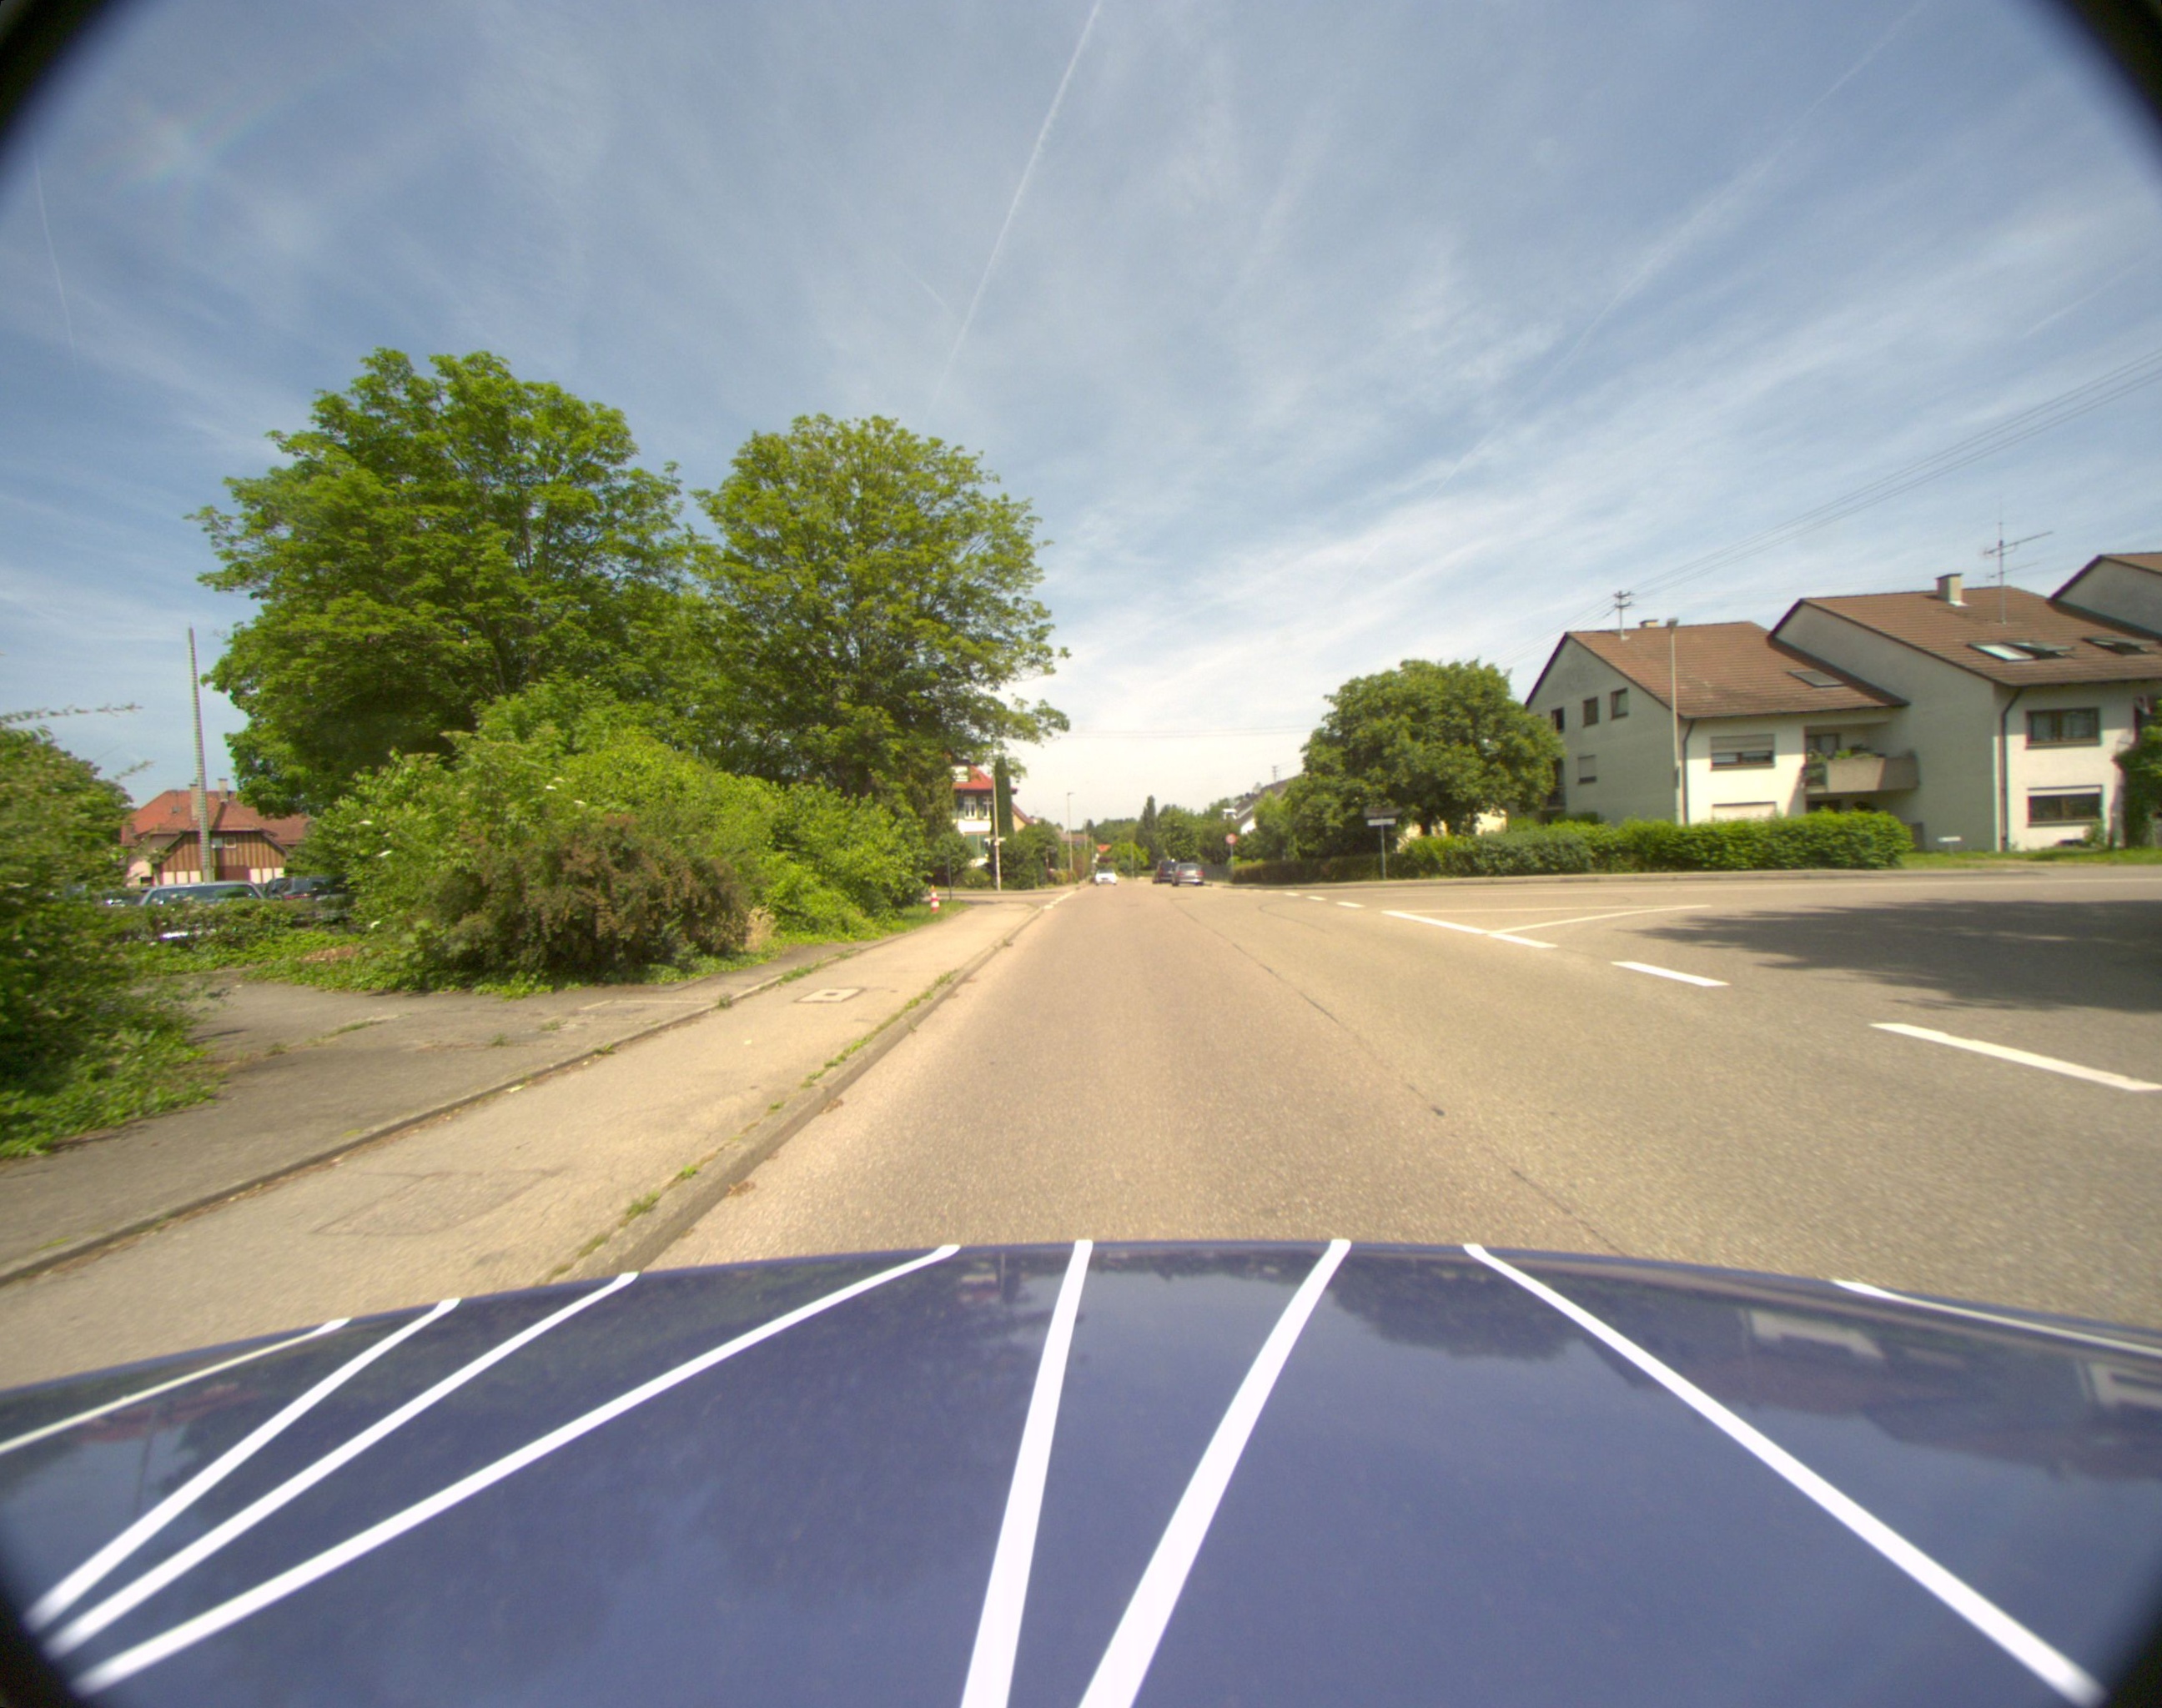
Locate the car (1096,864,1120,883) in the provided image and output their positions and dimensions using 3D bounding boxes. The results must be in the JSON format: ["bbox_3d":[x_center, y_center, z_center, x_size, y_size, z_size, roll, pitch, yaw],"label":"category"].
[{"bbox_3d":[2.333,1.682,66.474,1.826,1.542,4.001,-2,-1,0],"label":"car"}]

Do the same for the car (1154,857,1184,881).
[{"bbox_3d":[7.359,1.269,63.863,1.901,1.908,4.872,-1,-2,0],"label":"car"}]

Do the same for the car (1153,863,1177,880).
[{"bbox_3d":[7.908,1.663,71.806,1.815,1.540,4.244,-2,-2,0],"label":"car"}]

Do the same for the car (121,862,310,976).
[{"bbox_3d":[-15.747,1.071,13.878,3.989,1.708,2.004,-2,1,41],"label":"car"}]

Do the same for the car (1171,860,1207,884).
[{"bbox_3d":[6.635,1.089,47.075,1.784,1.386,4.410,-1,-1,3],"label":"car"}]

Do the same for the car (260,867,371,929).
[{"bbox_3d":[-22.876,1.255,22.672,3.989,1.614,2.004,-2,1,41],"label":"car"}]
